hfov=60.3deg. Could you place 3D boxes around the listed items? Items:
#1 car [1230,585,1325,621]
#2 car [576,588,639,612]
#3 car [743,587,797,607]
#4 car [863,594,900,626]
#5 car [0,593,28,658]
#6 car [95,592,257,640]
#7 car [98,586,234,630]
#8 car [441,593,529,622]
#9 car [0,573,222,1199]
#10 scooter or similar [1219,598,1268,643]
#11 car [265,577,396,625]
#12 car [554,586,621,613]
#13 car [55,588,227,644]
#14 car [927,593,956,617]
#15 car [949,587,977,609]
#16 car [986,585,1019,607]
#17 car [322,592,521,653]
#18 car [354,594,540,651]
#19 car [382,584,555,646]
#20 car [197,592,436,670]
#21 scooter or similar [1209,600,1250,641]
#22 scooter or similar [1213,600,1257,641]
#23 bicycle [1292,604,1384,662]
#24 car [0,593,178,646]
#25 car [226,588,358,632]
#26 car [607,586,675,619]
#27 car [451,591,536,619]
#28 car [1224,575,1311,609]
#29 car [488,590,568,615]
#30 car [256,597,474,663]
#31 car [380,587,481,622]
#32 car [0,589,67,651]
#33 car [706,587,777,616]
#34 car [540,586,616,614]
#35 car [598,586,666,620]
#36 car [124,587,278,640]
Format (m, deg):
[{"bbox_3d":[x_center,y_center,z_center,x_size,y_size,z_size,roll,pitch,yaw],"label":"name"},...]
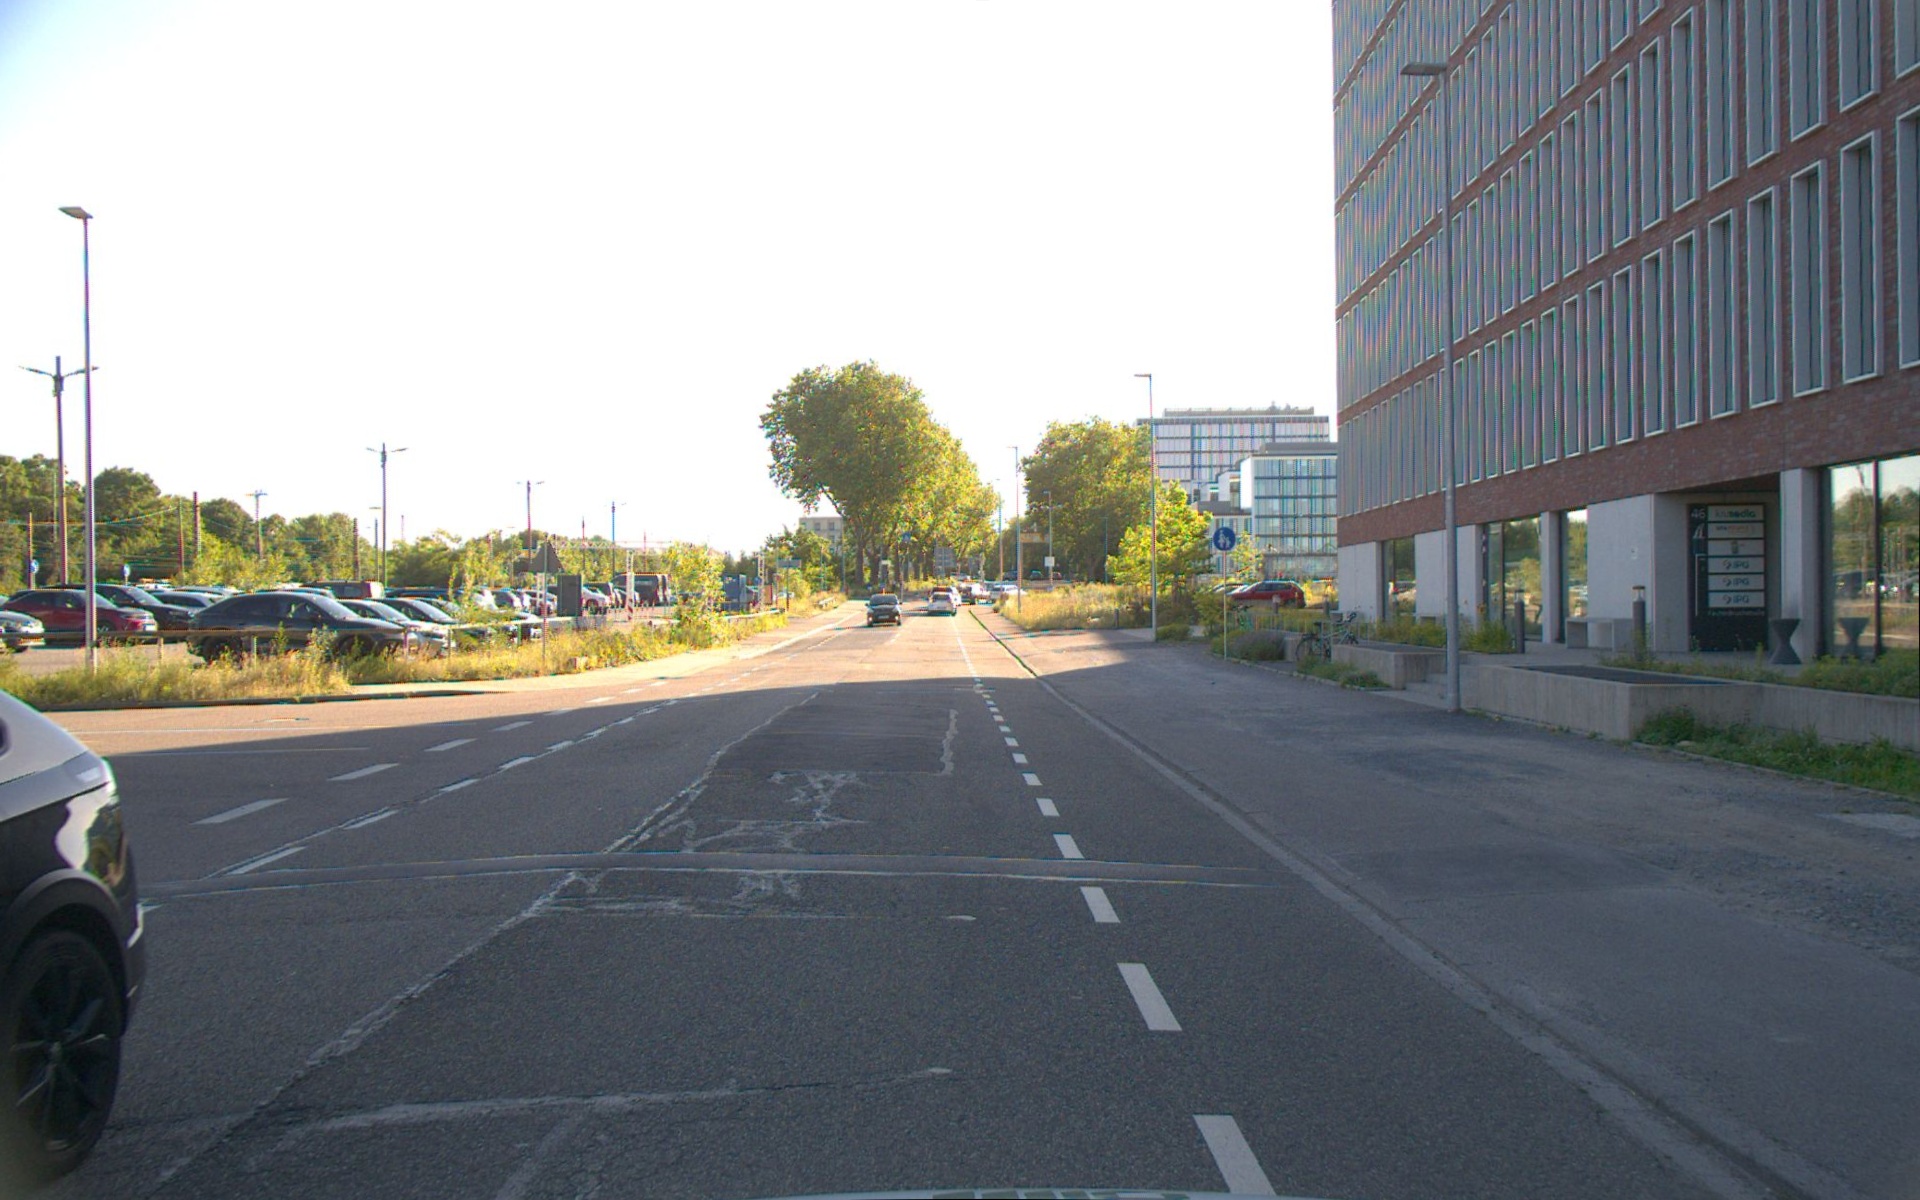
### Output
[{"bbox_3d":[14.631,0.137,76.425,4.097,1.608,1.852,1,0,3],"label":"car"},{"bbox_3d":[-25.906,0.016,121.558,4.234,1.646,1.878,1,0,-2],"label":"car"},{"bbox_3d":[-15.896,-0.293,138.549,4.336,1.585,1.878,1,0,-2],"label":"car"},{"bbox_3d":[-3.835,0.505,81.241,1.620,1.530,4.000,-1,-1,0],"label":"car"},{"bbox_3d":[-24.253,0.567,38.119,4.316,1.491,2.047,0,0,-5],"label":"car"},{"bbox_3d":[-24.373,0.492,51.559,4.078,1.421,2.047,0,0,-5],"label":"car"},{"bbox_3d":[-30.329,0.282,63.260,4.277,1.572,1.857,1,0,0],"label":"car"},{"bbox_3d":[-25.733,0.398,89.742,4.234,1.444,1.878,1,0,-2],"label":"car"},{"bbox_3d":[-3.159,0.763,3.090,1.705,1.552,4.110,-3,0,-1],"label":"car"},{"bbox_3d":[8.081,0.583,47.194,1.312,1.267,0.424,-1,0,4],"label":"scooter or similar"},{"bbox_3d":[-25.063,0.035,65.940,4.482,1.837,1.857,1,0,0],"label":"car"},{"bbox_3d":[-26.162,-0.065,116.294,4.234,1.823,1.878,1,0,-2],"label":"car"},{"bbox_3d":[-24.259,0.459,49.117,4.078,1.606,2.047,0,0,-5],"label":"car"},{"bbox_3d":[-1.163,0.325,104.413,1.753,1.445,4.000,1,0,0],"label":"car"},{"bbox_3d":[0.257,-0.134,133.309,2.119,1.713,4.001,-1,0,1],"label":"car"},{"bbox_3d":[3.577,-0.338,139.030,2.117,1.713,4.003,1,-1,12],"label":"car"},{"bbox_3d":[-13.596,0.558,41.963,4.337,1.487,2.048,0,0,0],"label":"car"},{"bbox_3d":[-13.772,0.592,44.550,4.337,1.487,2.048,0,0,0],"label":"car"},{"bbox_3d":[-14.066,0.420,47.520,4.337,1.699,2.048,0,0,0],"label":"car"},{"bbox_3d":[-13.855,0.644,35.813,4.337,1.608,2.048,0,0,0],"label":"car"},{"bbox_3d":[8.187,0.628,50.265,1.217,1.216,0.340,-1,0,4],"label":"scooter or similar"},{"bbox_3d":[8.105,0.606,48.752,1.217,1.176,0.366,-1,0,4],"label":"scooter or similar"},{"bbox_3d":[8.119,0.705,35.554,1.895,1.190,0.375,-1,0,-7],"label":"bicycle"},{"bbox_3d":[-24.420,0.534,46.309,4.078,1.421,2.047,0,0,-5],"label":"car"},{"bbox_3d":[-25.639,0.367,63.551,4.277,1.572,1.857,1,0,0],"label":"car"},{"bbox_3d":[-25.412,0.166,131.862,4.993,2.502,2.319,1,0,-2],"label":"car"},{"bbox_3d":[-26.104,0.277,92.612,4.234,1.444,1.878,1,0,-2],"label":"car"},{"bbox_3d":[15.499,-0.395,83.404,4.097,1.608,1.852,0,-4,3],"label":"car"},{"bbox_3d":[-25.570,0.141,97.920,4.234,1.400,1.878,1,0,-2],"label":"car"},{"bbox_3d":[-13.862,0.685,38.718,4.337,1.487,2.048,0,0,0],"label":"car"},{"bbox_3d":[-25.347,0.213,79.247,4.233,1.550,1.878,1,0,0],"label":"car"},{"bbox_3d":[-24.779,0.479,40.842,4.316,1.491,2.047,0,0,-5],"label":"car"},{"bbox_3d":[-15.297,0.098,116.065,4.747,1.867,1.999,1,0,-2],"label":"car"},{"bbox_3d":[-25.539,-0.035,110.604,4.484,1.771,2.059,1,0,3],"label":"car"},{"bbox_3d":[-25.602,0.229,129.173,4.826,2.503,2.319,-1,0,-2],"label":"car"},{"bbox_3d":[-24.676,0.435,53.864,4.078,1.691,1.965,0,0,-4],"label":"car"}]
